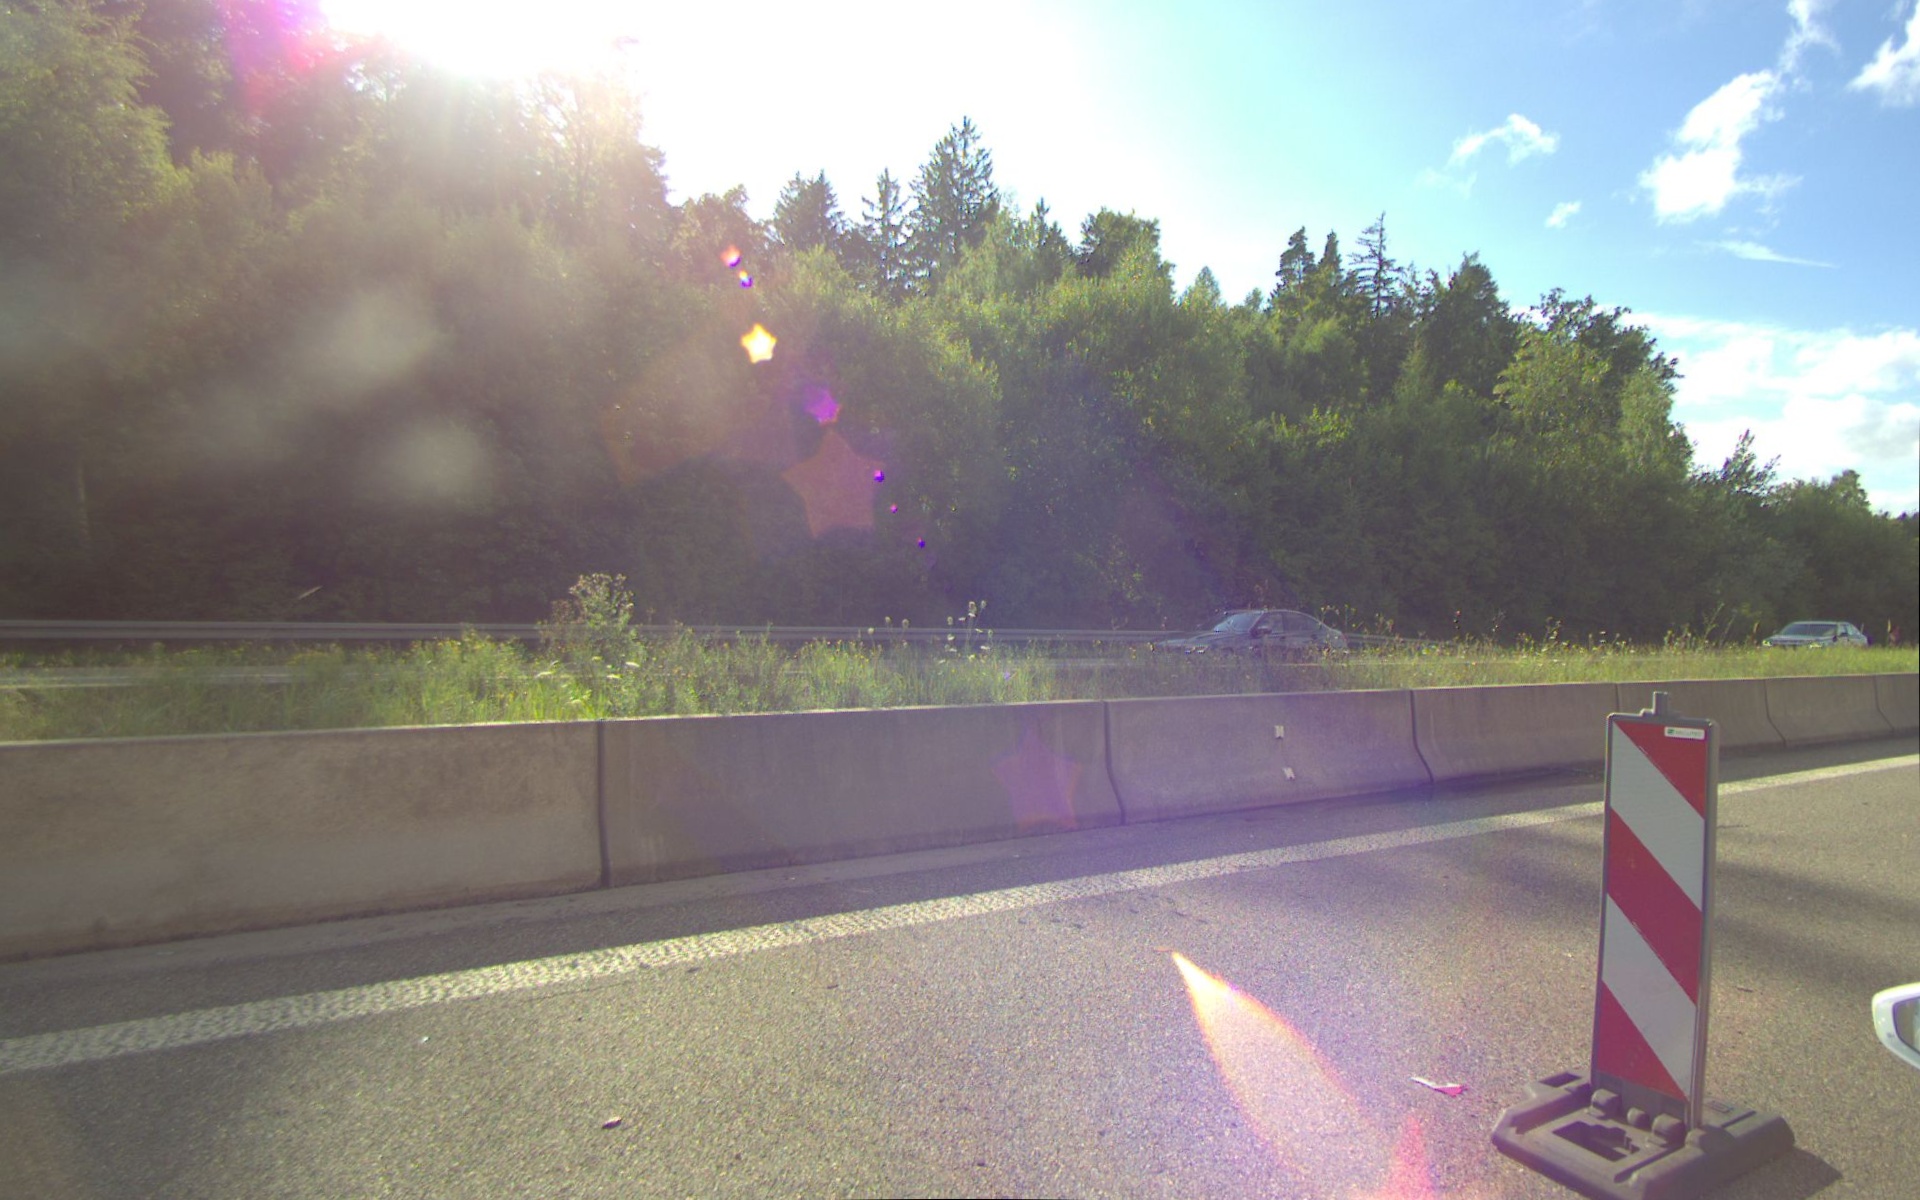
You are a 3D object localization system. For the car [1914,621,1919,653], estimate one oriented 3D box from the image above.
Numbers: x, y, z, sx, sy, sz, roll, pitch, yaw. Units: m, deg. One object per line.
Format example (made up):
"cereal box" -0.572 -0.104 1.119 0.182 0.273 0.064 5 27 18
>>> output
"car" 64.261 2.464 65.482 3.953 2.040 1.984 2 0 -30

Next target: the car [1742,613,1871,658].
"car" 28.200 1.189 33.450 4.237 1.381 1.949 2 0 -30

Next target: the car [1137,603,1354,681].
"car" 5.817 0.845 20.370 4.260 1.406 1.771 2 0 -30
